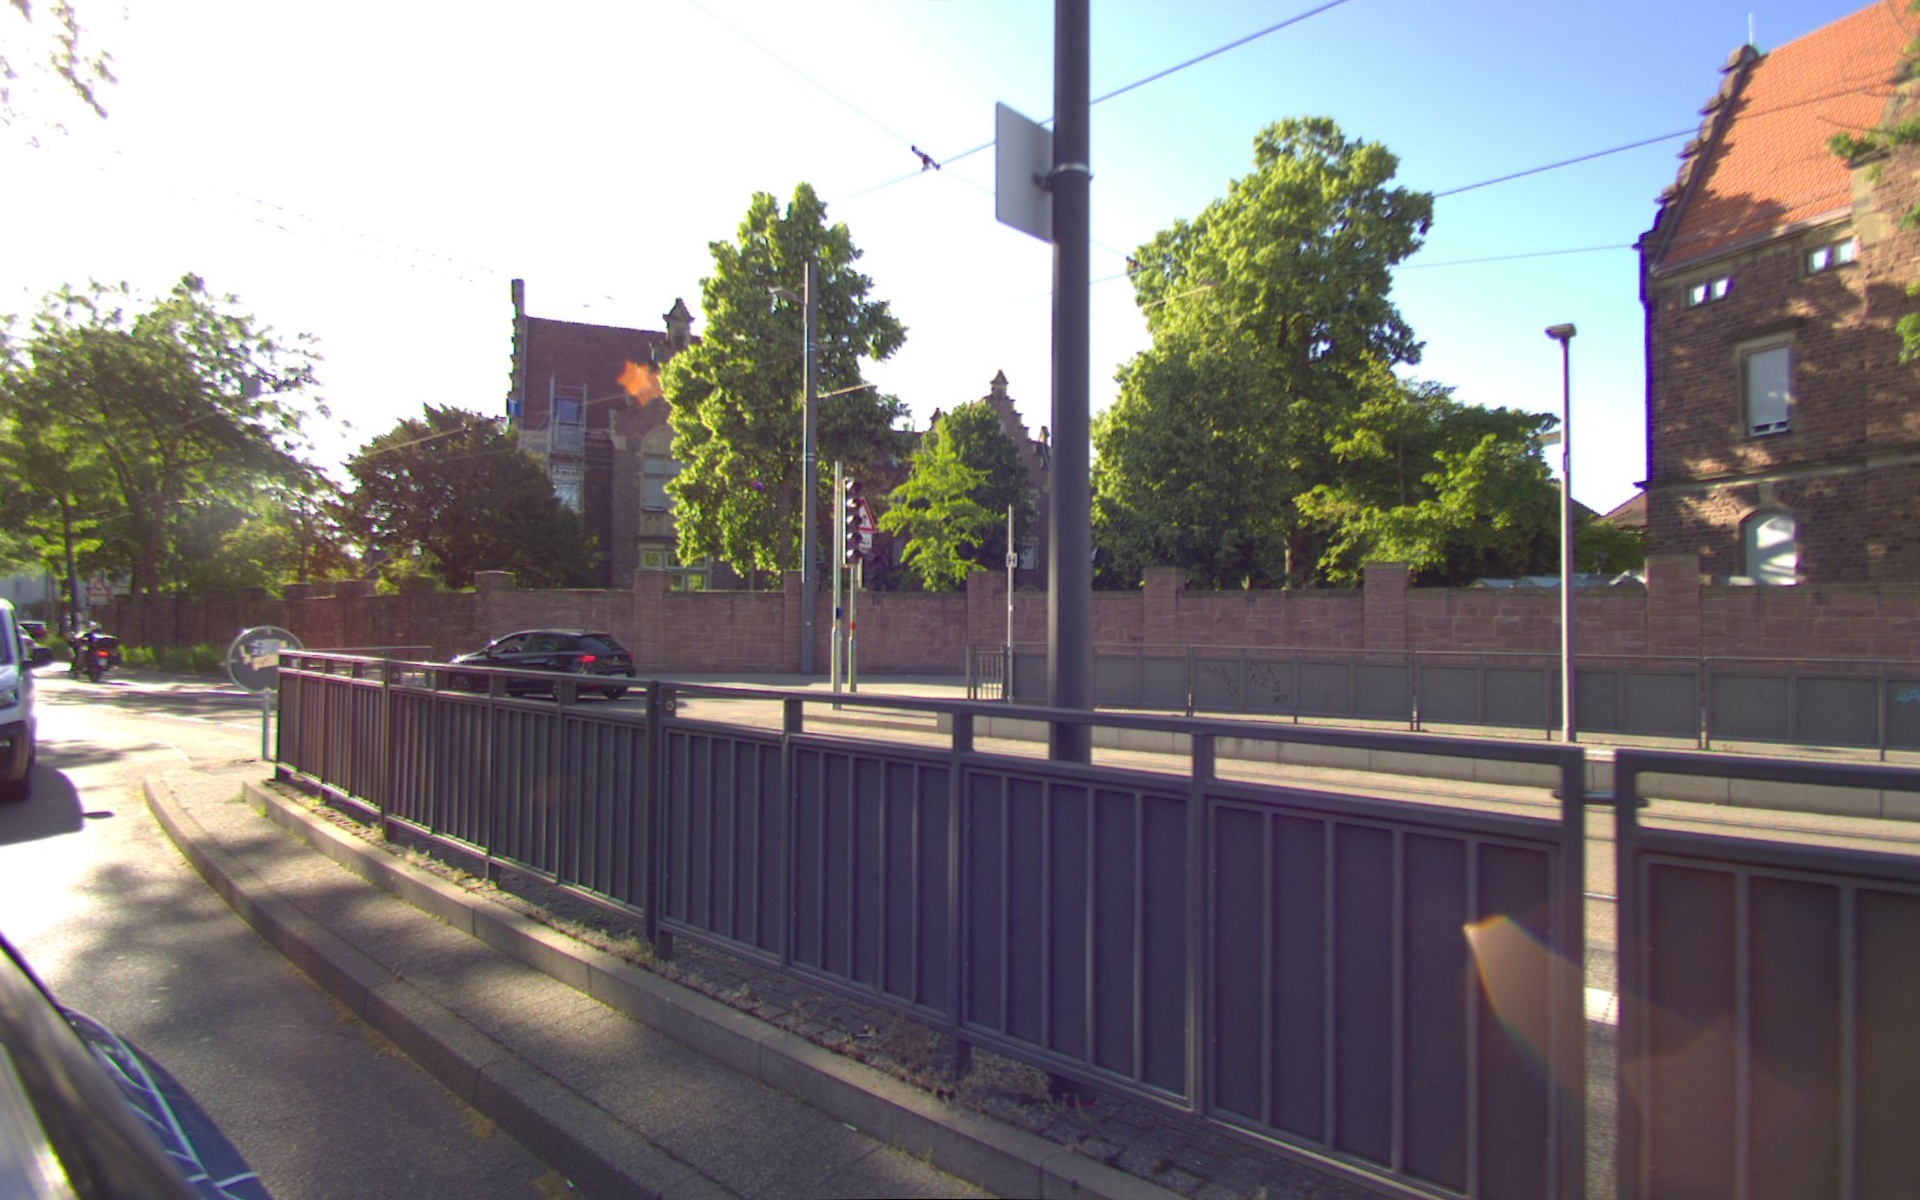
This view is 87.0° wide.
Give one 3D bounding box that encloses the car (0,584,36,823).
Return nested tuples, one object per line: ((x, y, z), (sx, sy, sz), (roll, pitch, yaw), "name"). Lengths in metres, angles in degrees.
((-9.312, 0.798, 8.646), (4.335, 1.812, 1.807), (-1, -1, 44), "car")

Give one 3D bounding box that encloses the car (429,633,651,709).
((-8.552, 1.397, 20.660), (3.951, 1.414, 1.849), (0, -2, 19), "car")

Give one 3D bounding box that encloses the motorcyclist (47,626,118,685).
((-23.784, 1.483, 27.430), (1.049, 1.536, 1.119), (0, -1, 25), "motorcyclist")

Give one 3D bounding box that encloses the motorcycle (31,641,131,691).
((-23.839, 1.753, 27.441), (2.559, 1.253, 1.124), (0, -1, 25), "motorcycle")
